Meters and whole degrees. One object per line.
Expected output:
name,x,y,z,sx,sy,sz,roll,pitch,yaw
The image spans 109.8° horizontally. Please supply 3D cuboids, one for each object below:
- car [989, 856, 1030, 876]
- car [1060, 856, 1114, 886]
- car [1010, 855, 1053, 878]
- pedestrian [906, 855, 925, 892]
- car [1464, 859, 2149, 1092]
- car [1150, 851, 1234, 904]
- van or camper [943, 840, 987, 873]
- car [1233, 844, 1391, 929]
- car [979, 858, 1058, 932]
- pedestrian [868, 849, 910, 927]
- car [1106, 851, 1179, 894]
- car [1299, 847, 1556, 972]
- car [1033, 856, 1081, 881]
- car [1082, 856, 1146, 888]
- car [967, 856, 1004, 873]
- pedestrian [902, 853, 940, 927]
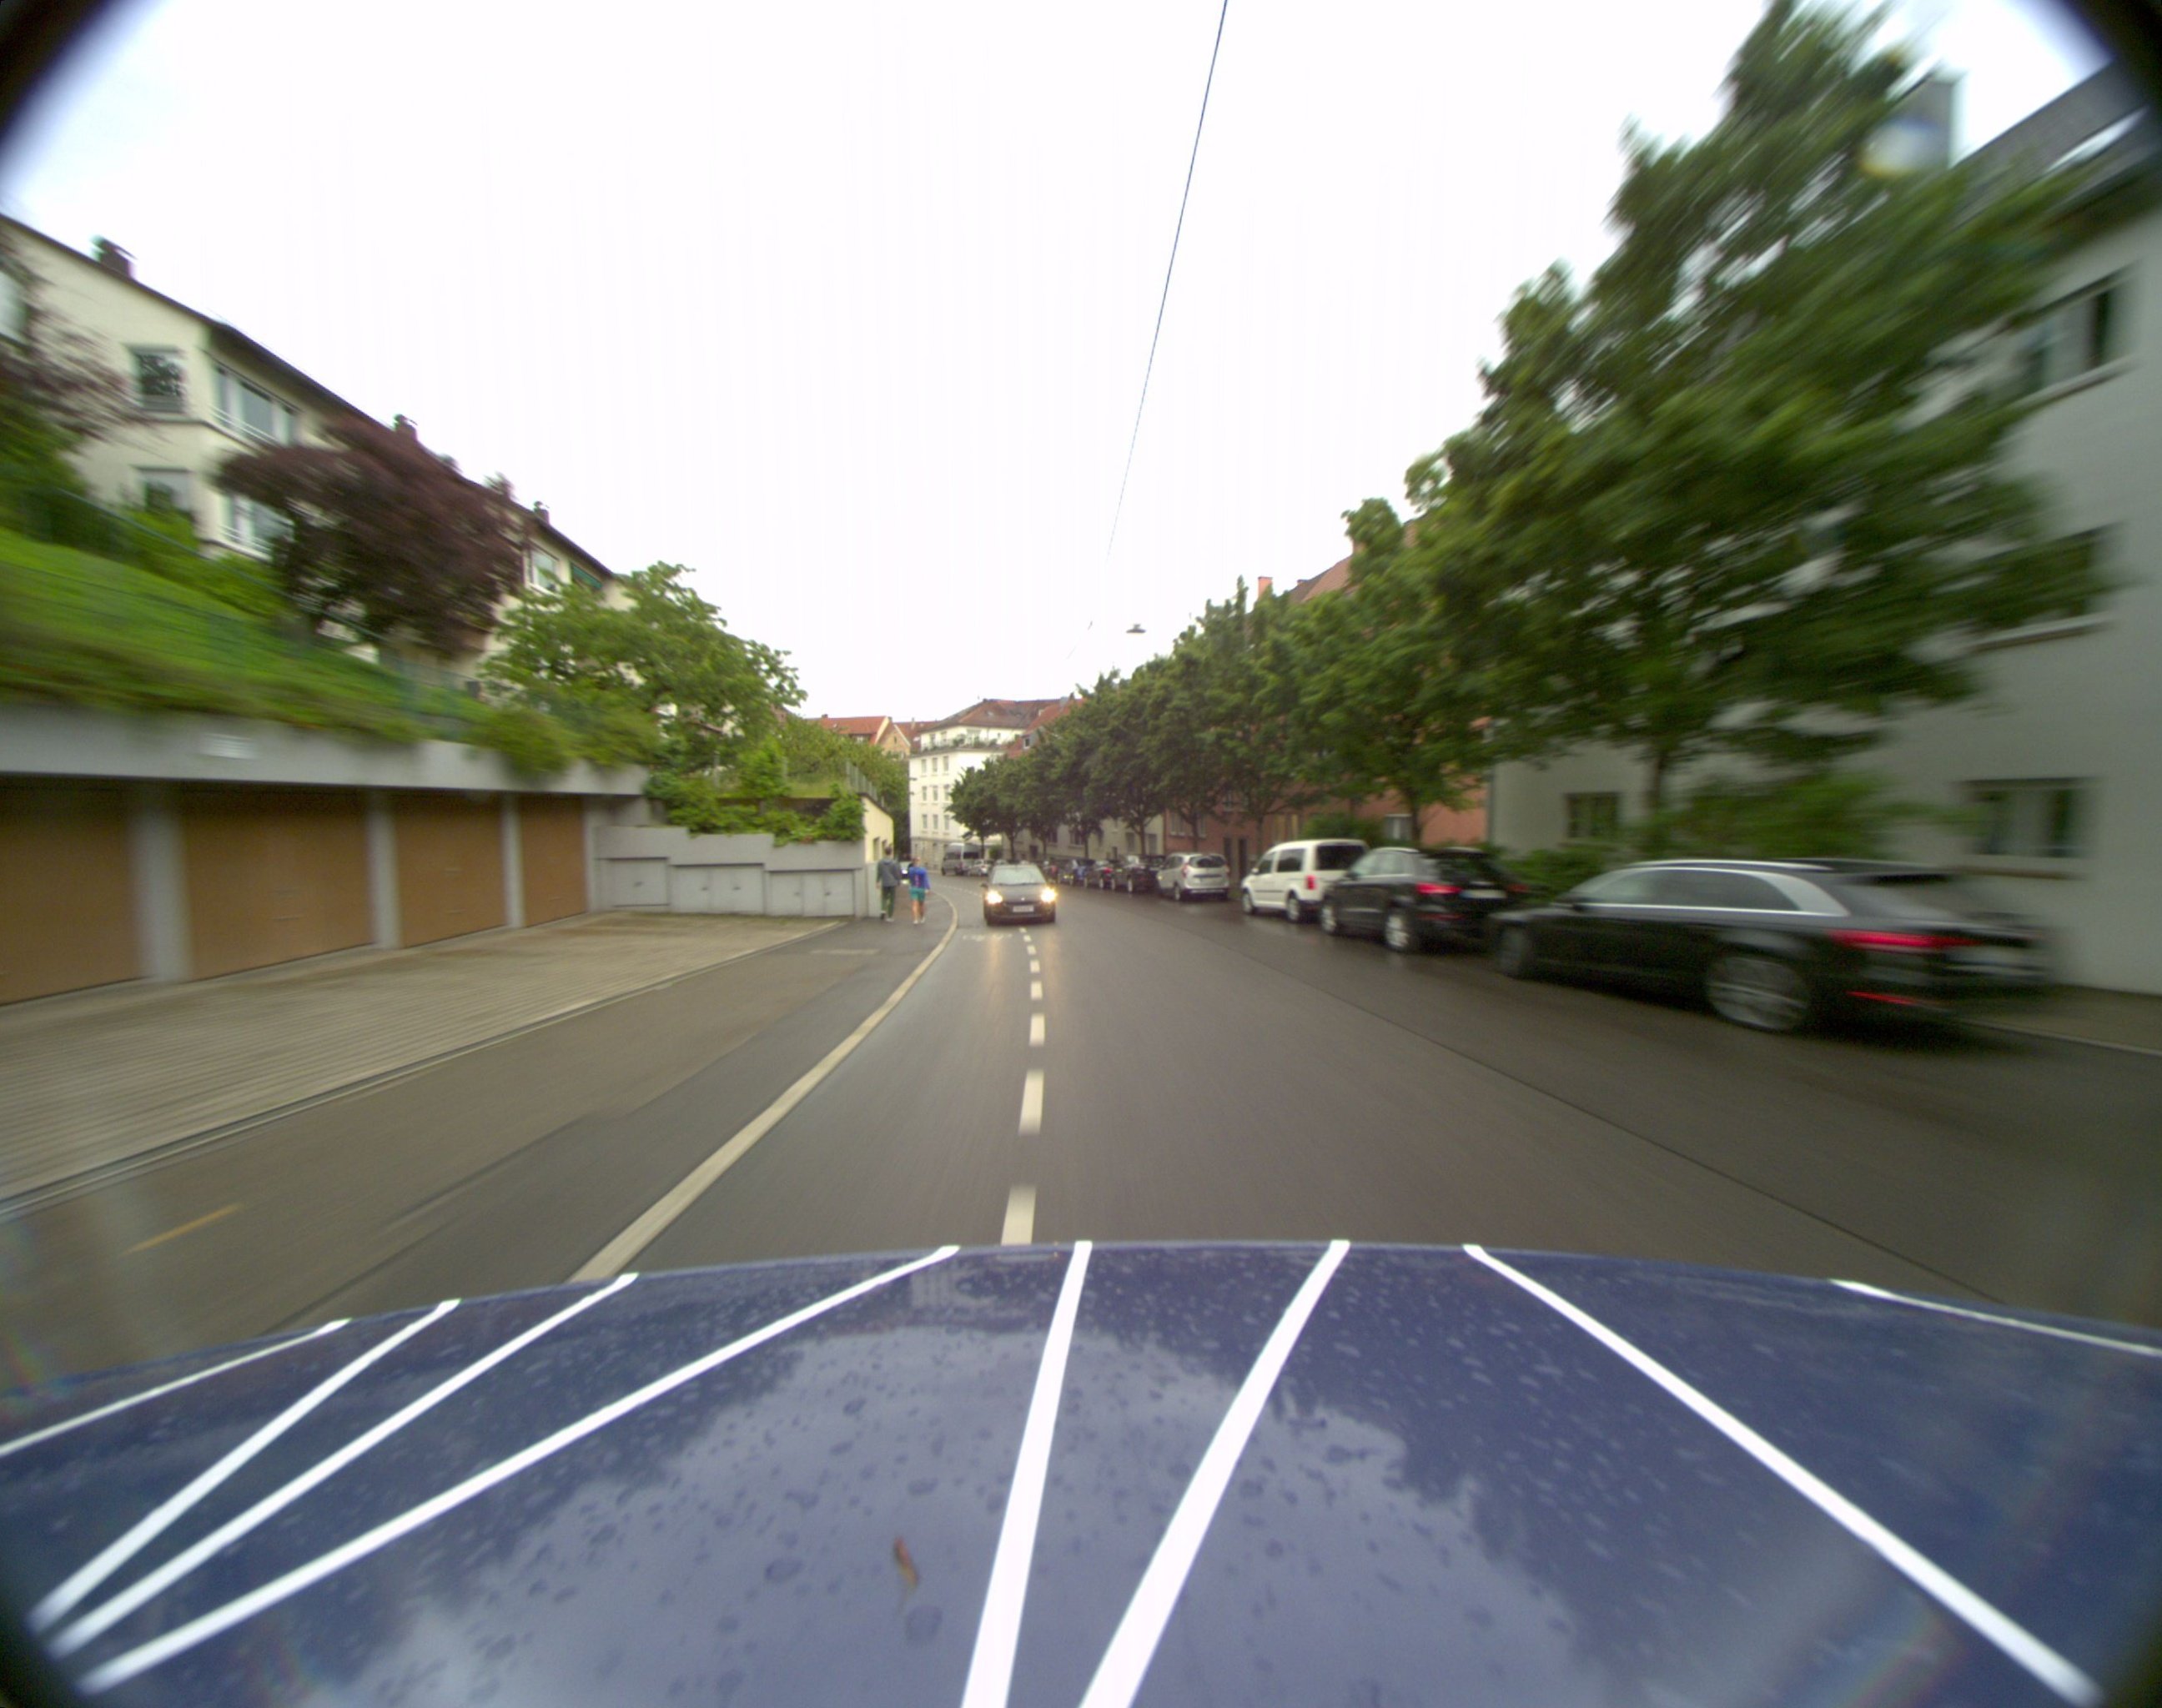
car,-5.578,0.880,59.000,1.795,1.484,4.489,-1,0,-24
car,0.263,0.892,42.339,1.794,1.484,4.855,-2,0,-15
car,-3.542,0.869,54.023,1.794,1.484,4.636,-3,1,-19
pedestrian,-8.523,0.977,39.135,0.902,1.840,0.802,-2,1,-13
car,6.144,0.814,7.475,1.860,1.490,4.737,-1,0,-8
car,3.823,0.760,26.995,1.752,1.680,4.597,-2,0,-8
van or camper,-10.623,0.241,69.316,2.077,2.843,5.734,-1,0,-29
car,5.290,0.665,18.099,1.860,1.766,4.478,0,0,-9
car,-1.710,0.967,19.662,1.699,1.456,3.996,-5,2,-8
pedestrian,-4.633,0.806,18.427,0.778,1.821,1.250,2,0,-7
car,2.585,0.747,32.887,1.793,1.632,4.475,-3,1,-13
car,5.413,0.749,12.672,1.859,1.658,4.585,-2,0,-5
car,-1.577,0.871,48.794,1.794,1.484,4.354,-2,0,-20
car,1.552,0.845,37.815,1.794,1.484,4.355,-2,0,-17
car,-8.107,0.879,64.261,1.594,1.401,4.037,-2,0,-30
pedestrian,-3.873,0.856,18.462,0.777,1.748,1.011,1,1,-8
